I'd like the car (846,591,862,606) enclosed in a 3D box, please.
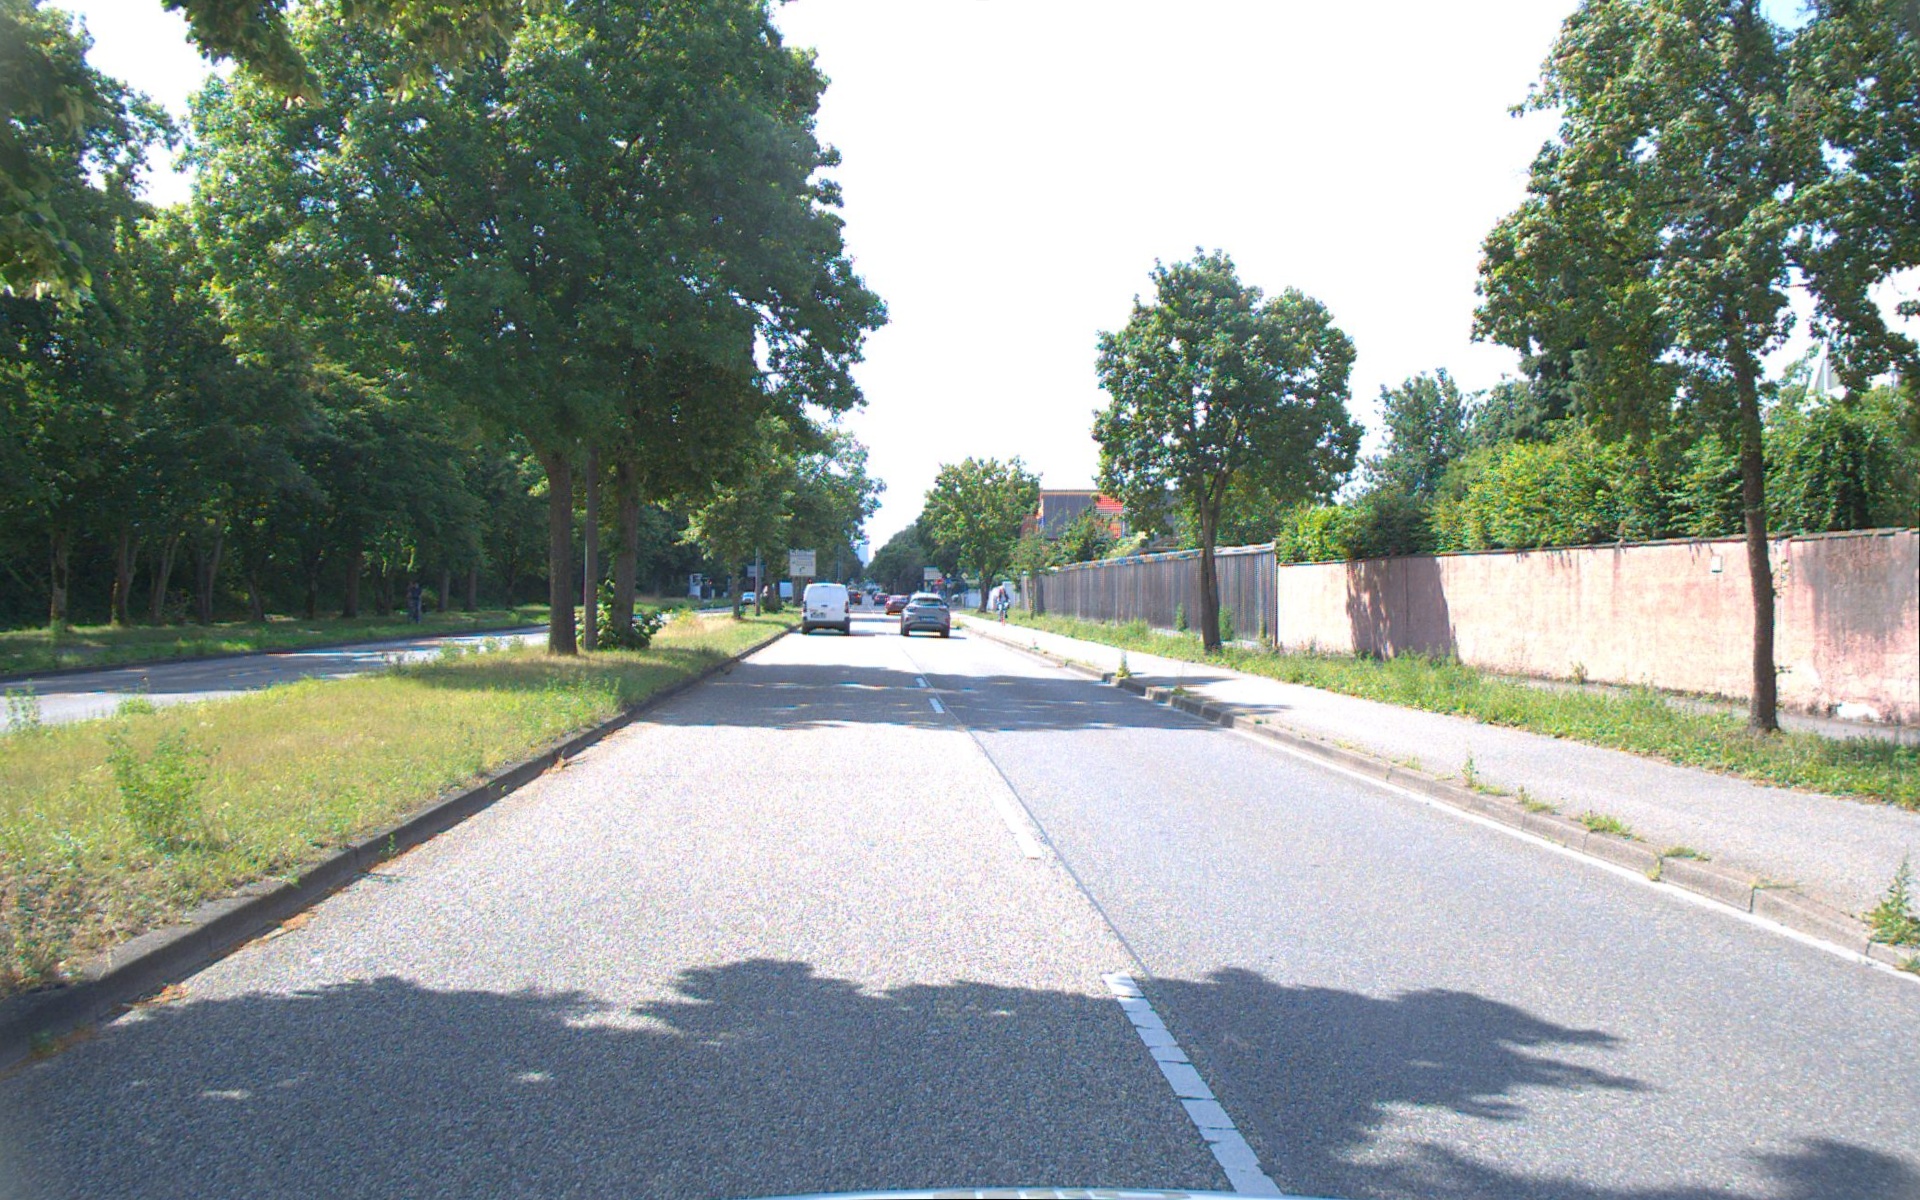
[{"bbox_3d":[-13.044,-0.243,203.508,1.902,1.798,4.143,1,0,-3],"label":"car"}]

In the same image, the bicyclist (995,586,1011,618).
[{"bbox_3d":[1.968,0.108,76.046,0.641,1.436,0.986,-2,0,-3],"label":"bicyclist"}]

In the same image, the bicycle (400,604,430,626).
[{"bbox_3d":[-22.687,0.621,68.904,0.605,0.894,1.914,1,0,-1],"label":"bicycle"}]

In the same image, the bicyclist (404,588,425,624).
[{"bbox_3d":[-22.685,0.254,68.815,0.605,1.473,0.729,1,0,-1],"label":"bicyclist"}]

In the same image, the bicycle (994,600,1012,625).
[{"bbox_3d":[1.980,0.572,76.050,0.633,1.086,2.277,-2,0,-3],"label":"bicycle"}]

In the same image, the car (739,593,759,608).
[{"bbox_3d":[-24.372,0.069,190.915,1.954,1.735,4.190,1,0,-3],"label":"car"}]

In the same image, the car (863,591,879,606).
[{"bbox_3d":[-11.522,-0.163,213.146,1.954,1.803,3.997,2,0,-3],"label":"car"}]

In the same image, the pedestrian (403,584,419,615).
[{"bbox_3d":[-30.064,-0.011,90.568,0.631,1.658,0.656,2,0,-3],"label":"pedestrian"}]

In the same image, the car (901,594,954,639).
[{"bbox_3d":[-1.234,0.576,61.904,1.838,1.617,4.182,1,0,-3],"label":"car"}]

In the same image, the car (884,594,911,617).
[{"bbox_3d":[-4.609,0.371,121.451,1.843,1.615,3.997,1,0,-3],"label":"car"}]

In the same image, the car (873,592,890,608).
[{"bbox_3d":[-9.663,-0.010,203.421,1.954,1.803,4.144,2,0,-3],"label":"car"}]

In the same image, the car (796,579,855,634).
[{"bbox_3d":[-4.944,0.216,61.256,2.025,1.945,4.643,1,0,-3],"label":"car"}]
